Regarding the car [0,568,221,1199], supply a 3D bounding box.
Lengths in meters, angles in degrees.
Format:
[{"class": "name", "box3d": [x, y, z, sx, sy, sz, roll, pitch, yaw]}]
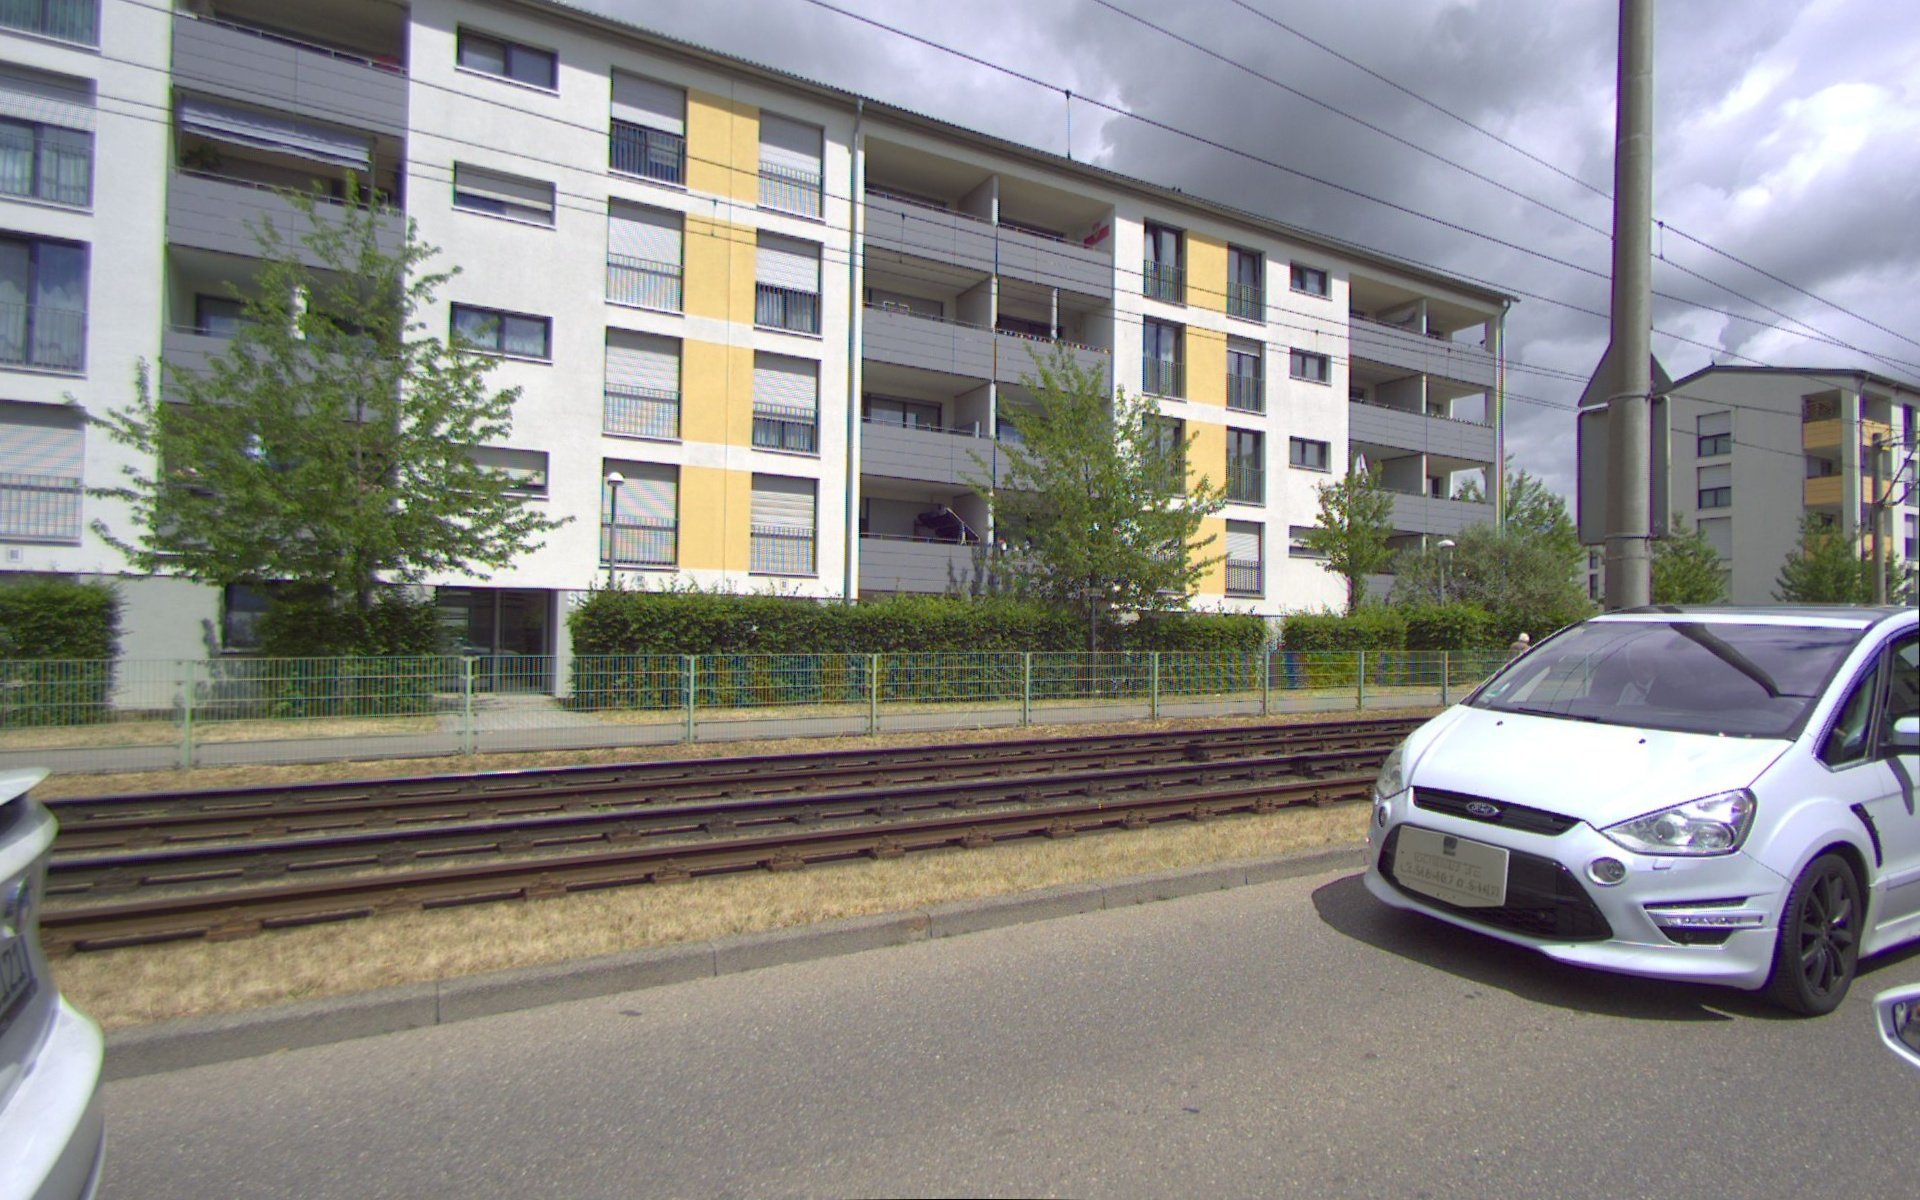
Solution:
[{"class": "car", "box3d": [-3.417, 0.671, 0.436, 4.781, 1.522, 1.808, 1, 0, -31]}]

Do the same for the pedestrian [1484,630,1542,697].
[{"class": "pedestrian", "box3d": [12.758, 1.450, 23.166, 0.984, 1.503, 0.792, 1, -1, -30]}]

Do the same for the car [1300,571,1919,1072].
[{"class": "car", "box3d": [4.064, 0.773, 5.216, 4.547, 1.635, 1.808, 1, 0, -30]}]
